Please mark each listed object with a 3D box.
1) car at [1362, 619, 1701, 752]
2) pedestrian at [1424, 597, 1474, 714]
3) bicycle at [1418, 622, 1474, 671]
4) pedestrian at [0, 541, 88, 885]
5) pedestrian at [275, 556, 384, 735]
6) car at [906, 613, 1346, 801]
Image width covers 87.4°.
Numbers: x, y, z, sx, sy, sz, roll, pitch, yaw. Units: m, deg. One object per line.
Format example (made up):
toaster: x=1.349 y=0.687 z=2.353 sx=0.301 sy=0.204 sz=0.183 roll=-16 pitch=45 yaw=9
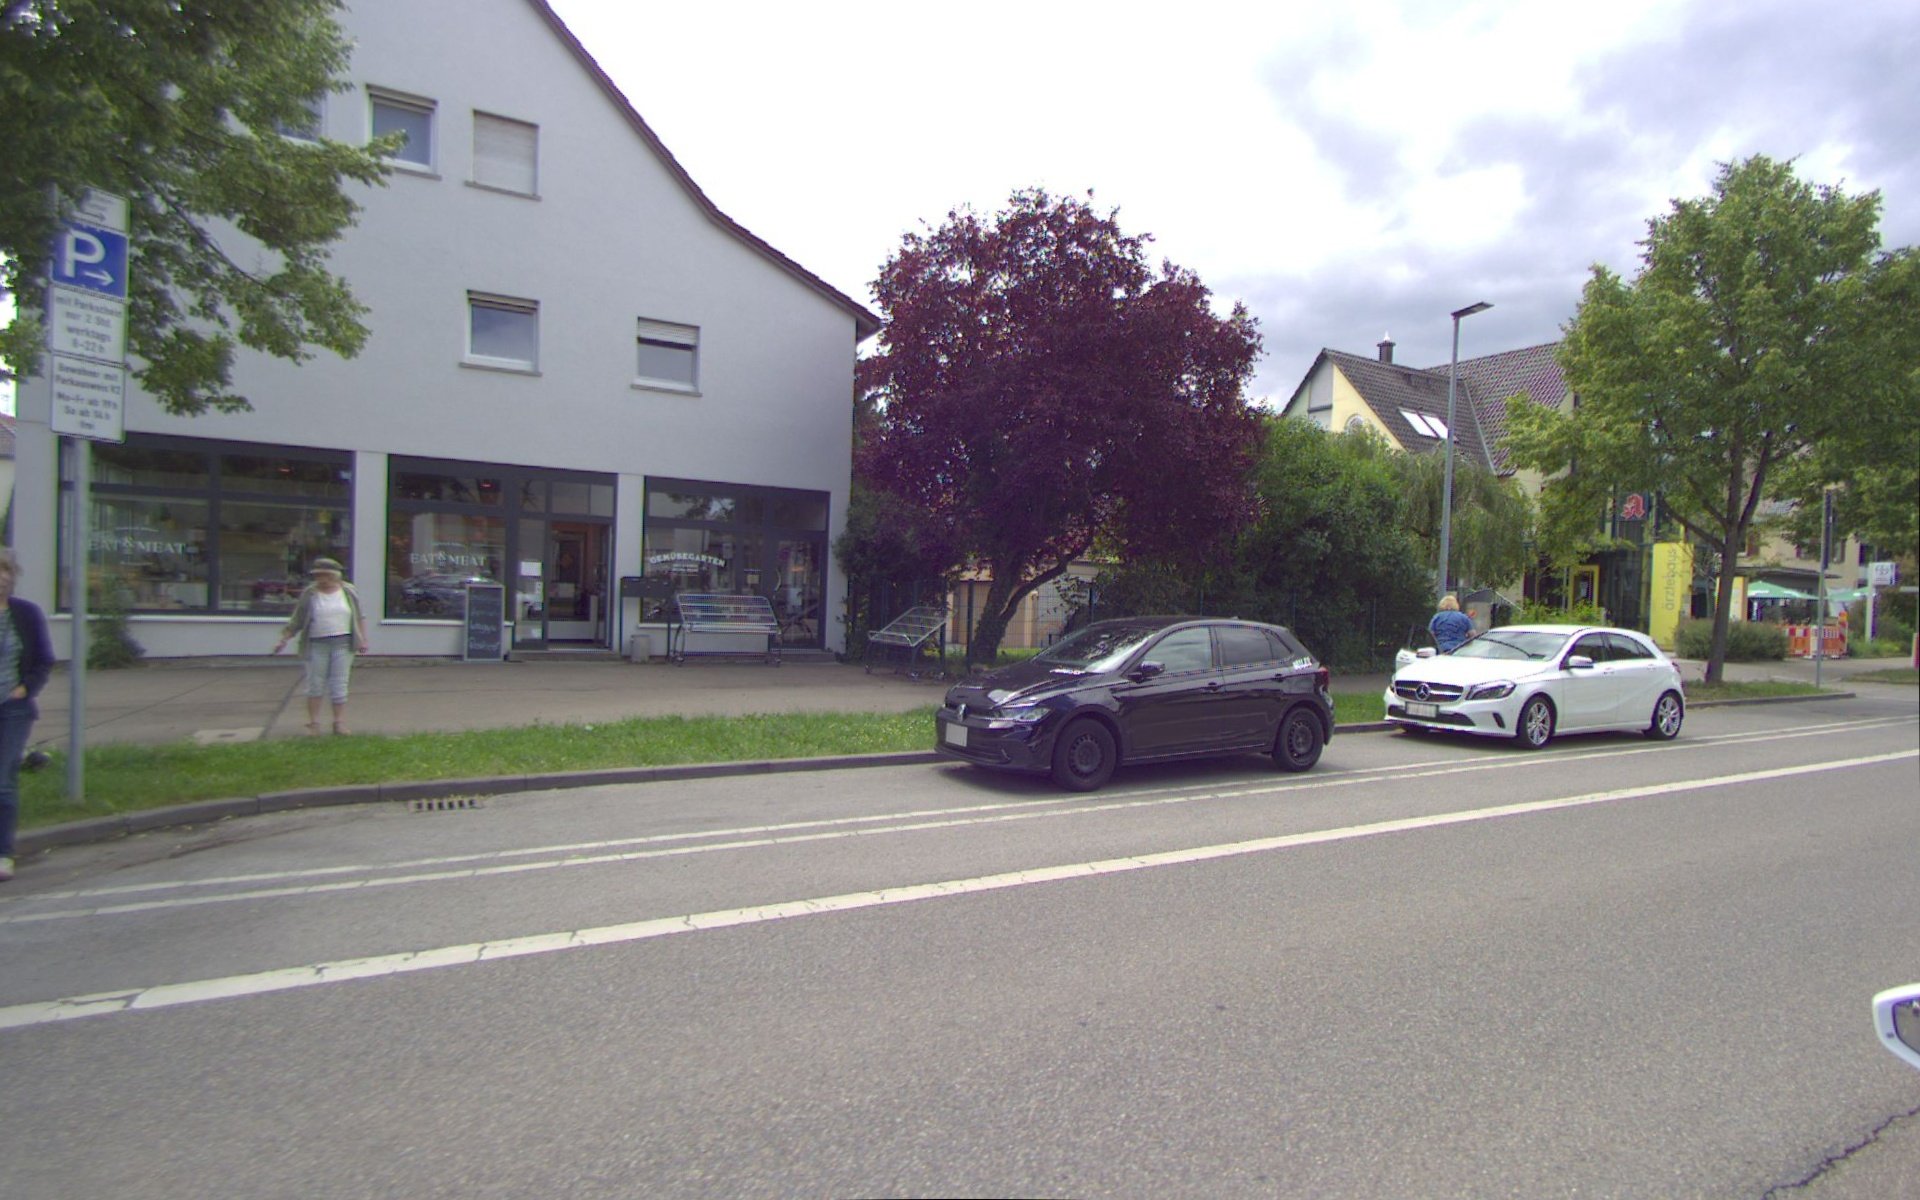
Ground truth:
car: x=7.280 y=0.998 z=12.737 sx=4.245 sy=1.425 sz=1.708 roll=1 pitch=0 yaw=-27
pedestrian: x=6.749 y=0.749 z=13.876 sx=0.572 sy=1.549 sz=0.698 roll=1 pitch=0 yaw=26
bicycle: x=11.035 y=1.036 z=22.787 sx=1.567 sy=1.062 sz=0.459 roll=1 pitch=0 yaw=-36
pedestrian: x=-5.050 y=0.551 z=5.118 sx=0.739 sy=1.704 sz=0.541 roll=0 pitch=2 yaw=-20
pedestrian: x=-5.774 y=0.406 z=9.231 sx=0.796 sy=1.572 sz=0.428 roll=1 pitch=1 yaw=-29
car: x=1.628 y=0.878 z=9.470 sx=3.973 sy=1.439 sz=1.635 roll=1 pitch=-1 yaw=-30
